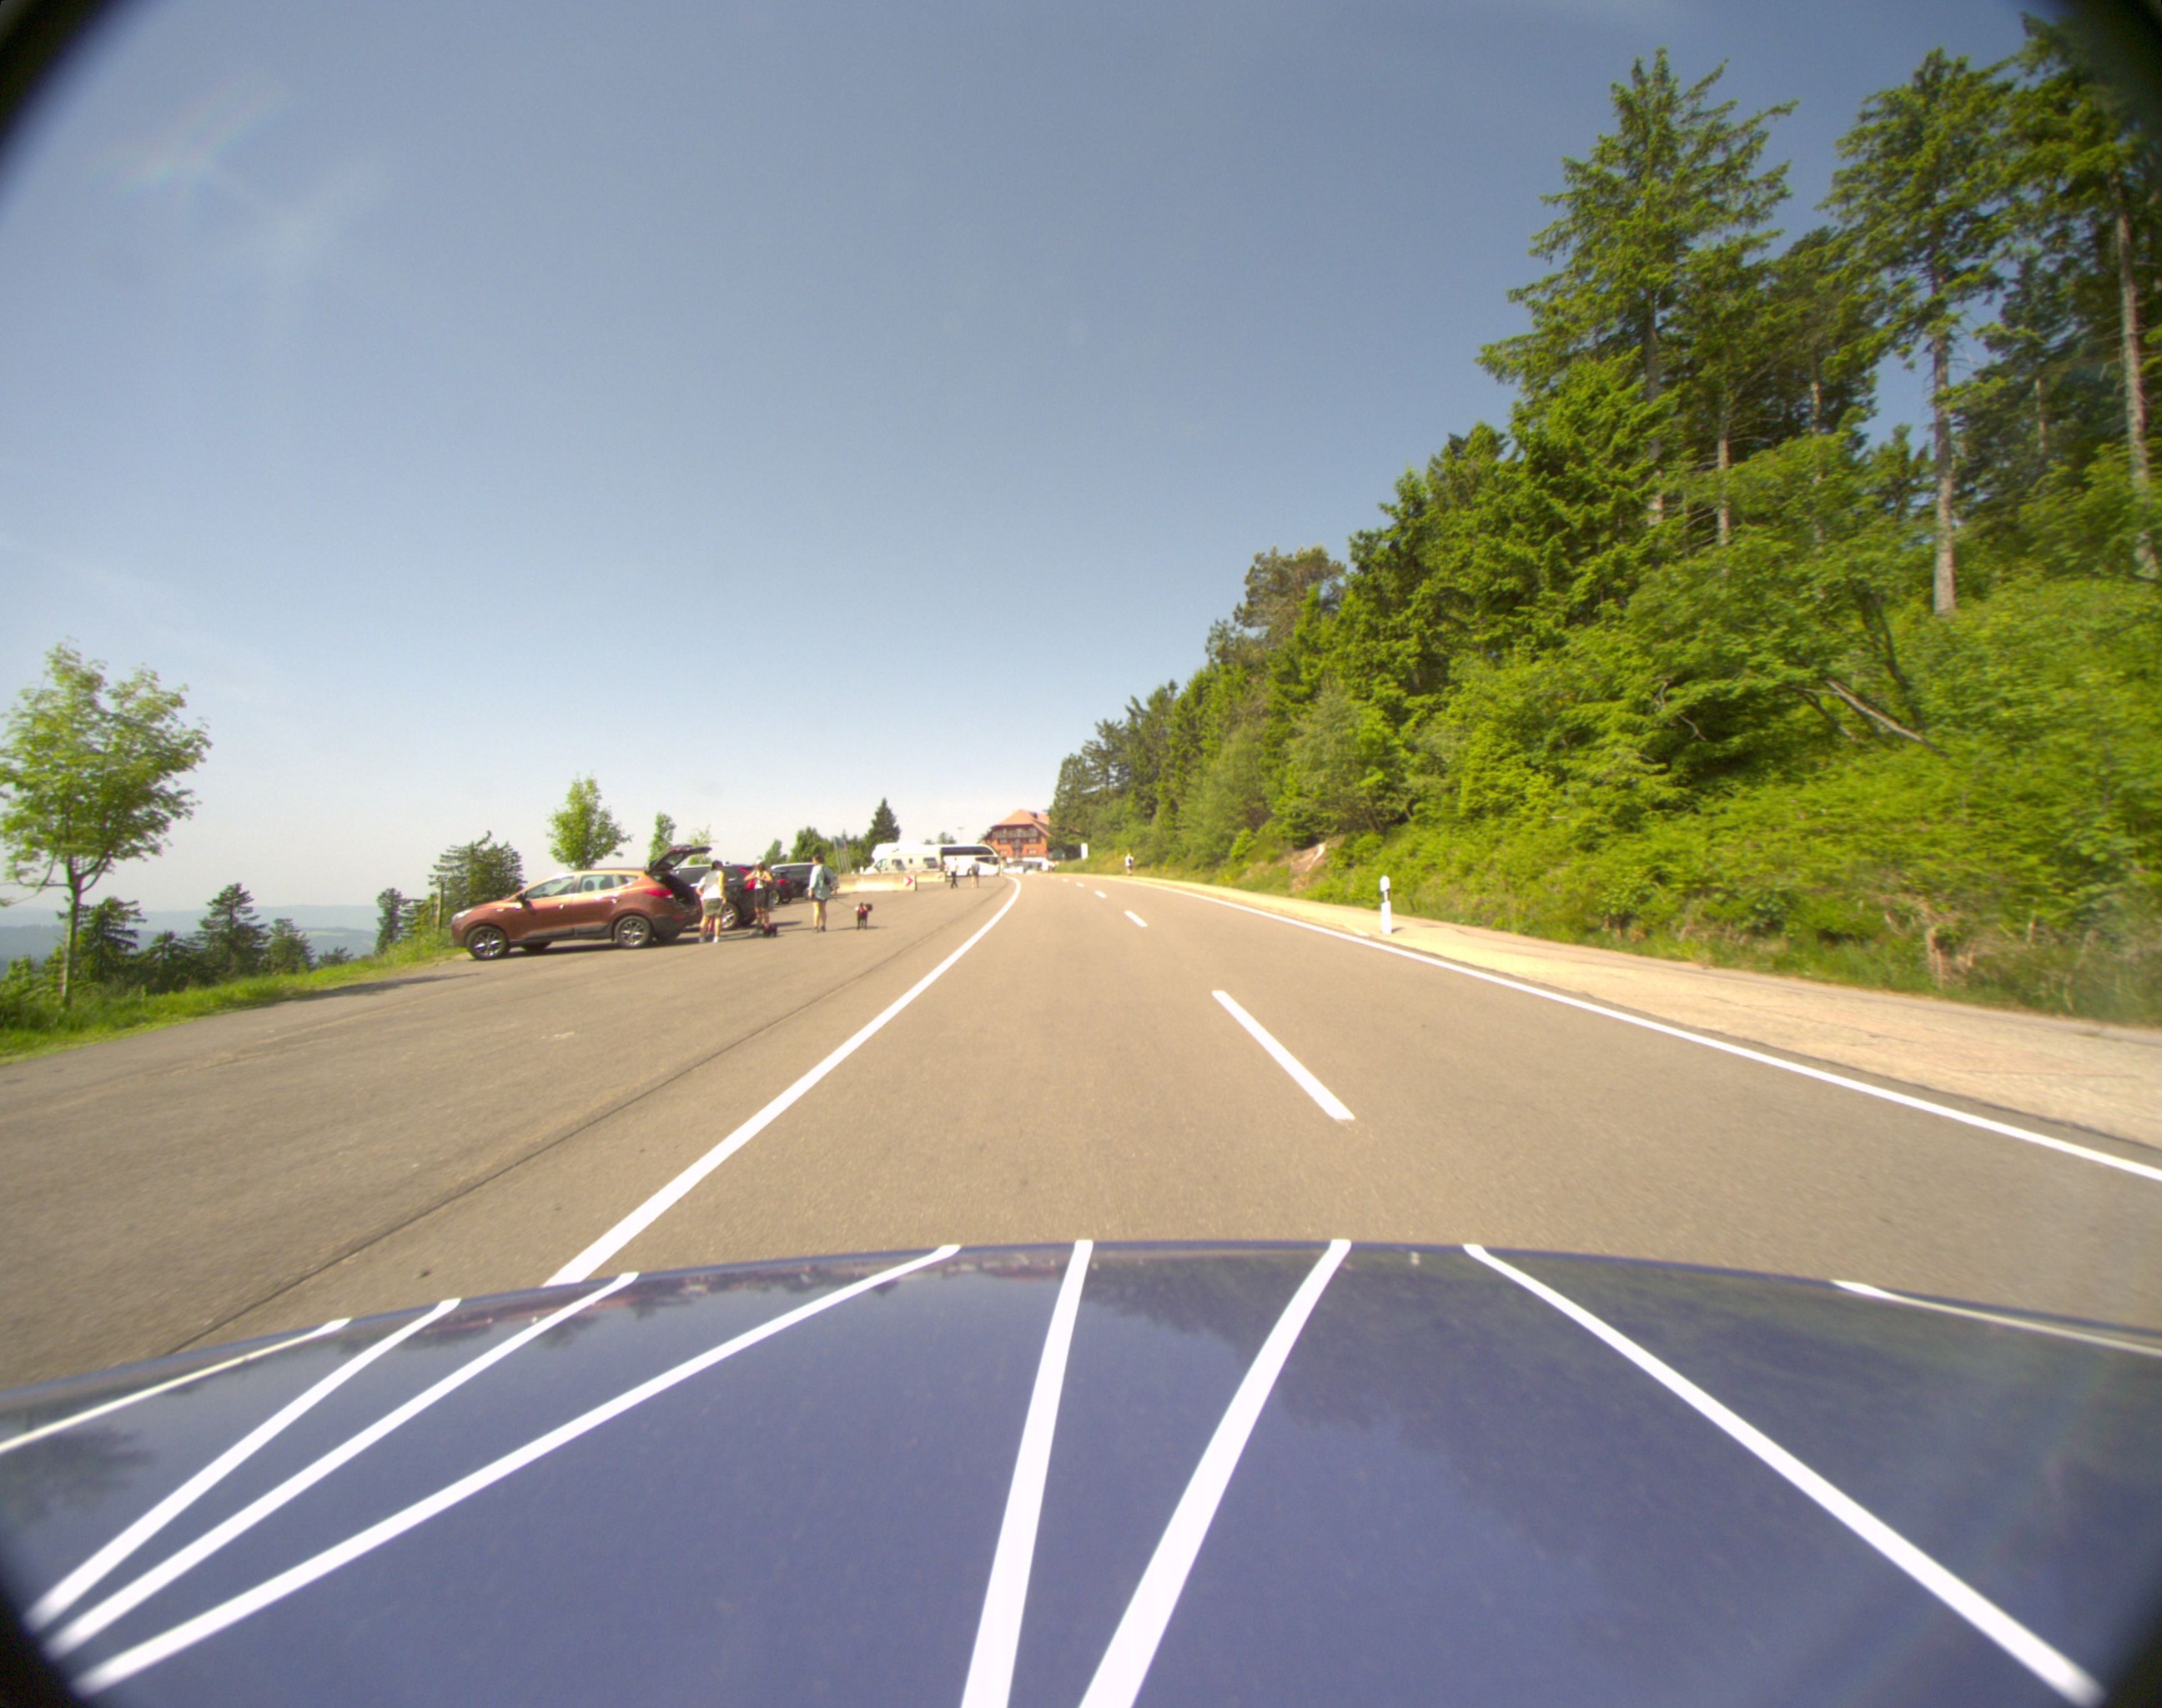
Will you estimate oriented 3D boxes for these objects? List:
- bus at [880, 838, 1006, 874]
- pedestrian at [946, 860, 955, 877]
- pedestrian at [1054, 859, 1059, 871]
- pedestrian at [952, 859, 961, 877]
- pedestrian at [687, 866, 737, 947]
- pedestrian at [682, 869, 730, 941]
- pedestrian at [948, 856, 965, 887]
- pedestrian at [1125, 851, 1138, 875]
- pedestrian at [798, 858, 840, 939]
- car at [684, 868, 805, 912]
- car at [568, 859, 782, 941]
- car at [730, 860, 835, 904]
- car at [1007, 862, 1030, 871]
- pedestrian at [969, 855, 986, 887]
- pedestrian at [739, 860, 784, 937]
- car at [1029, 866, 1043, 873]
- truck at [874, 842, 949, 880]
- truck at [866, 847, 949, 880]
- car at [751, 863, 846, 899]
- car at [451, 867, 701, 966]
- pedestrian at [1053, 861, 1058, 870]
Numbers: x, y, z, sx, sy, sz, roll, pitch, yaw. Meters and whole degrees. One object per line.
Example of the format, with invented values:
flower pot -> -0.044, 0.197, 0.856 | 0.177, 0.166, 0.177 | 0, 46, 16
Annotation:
bus -> -14.544, 0.221, 80.749 | 12.884, 3.556, 2.838 | -1, 0, -5
pedestrian -> -12.894, 1.408, 75.016 | 0.631, 1.641, 0.629 | -1, 0, 18
pedestrian -> -3.402, 1.460, 104.216 | 0.578, 1.633, 0.893 | 0, -1, -10
pedestrian -> -12.221, 1.350, 74.582 | 0.631, 1.747, 0.628 | -1, 0, 8
pedestrian -> -7.659, 1.071, 15.806 | 0.654, 1.650, 0.688 | 0, -1, 8
pedestrian -> -8.417, 1.137, 17.081 | 0.618, 1.577, 0.736 | -1, -1, 14
pedestrian -> -6.978, 0.975, 42.451 | 0.666, 1.730, 0.895 | -1, 0, 8
pedestrian -> 3.732, 0.690, 56.263 | 0.684, 1.736, 0.824 | -1, 0, -11
pedestrian -> -5.871, 0.979, 17.072 | 0.618, 1.765, 0.724 | -2, 0, 2
car -> -13.563, 1.425, 30.798 | 4.008, 1.428, 1.763 | -4, 1, -2
car -> -9.950, 1.085, 18.979 | 4.278, 1.783, 1.890 | -2, 0, -11
car -> -13.183, 1.203, 33.719 | 4.000, 1.637, 1.599 | -3, 1, -9
car -> -11.710, 2.345, 142.324 | 3.954, 1.578, 1.793 | -1, -1, 20
pedestrian -> -5.793, 0.950, 42.573 | 0.755, 1.750, 0.776 | -1, 0, 8
pedestrian -> -7.271, 1.000, 17.309 | 0.717, 1.682, 0.619 | -2, 0, 2
car -> -9.569, 3.225, 160.301 | 1.711, 1.543, 3.140 | -1, -1, 24
truck -> -14.505, 0.598, 65.390 | 6.083, 3.177, 2.531 | -1, 0, -8
truck -> -14.072, 0.796, 62.042 | 6.279, 2.575, 2.339 | -1, -1, -6
car -> -13.769, 1.299, 37.224 | 3.999, 1.467, 1.772 | -3, 0, -8
car -> -10.125, 1.208, 15.530 | 3.829, 1.651, 1.651 | -3, 1, -10
pedestrian -> -3.425, 1.547, 101.610 | 0.570, 1.095, 0.744 | 0, -1, -10
